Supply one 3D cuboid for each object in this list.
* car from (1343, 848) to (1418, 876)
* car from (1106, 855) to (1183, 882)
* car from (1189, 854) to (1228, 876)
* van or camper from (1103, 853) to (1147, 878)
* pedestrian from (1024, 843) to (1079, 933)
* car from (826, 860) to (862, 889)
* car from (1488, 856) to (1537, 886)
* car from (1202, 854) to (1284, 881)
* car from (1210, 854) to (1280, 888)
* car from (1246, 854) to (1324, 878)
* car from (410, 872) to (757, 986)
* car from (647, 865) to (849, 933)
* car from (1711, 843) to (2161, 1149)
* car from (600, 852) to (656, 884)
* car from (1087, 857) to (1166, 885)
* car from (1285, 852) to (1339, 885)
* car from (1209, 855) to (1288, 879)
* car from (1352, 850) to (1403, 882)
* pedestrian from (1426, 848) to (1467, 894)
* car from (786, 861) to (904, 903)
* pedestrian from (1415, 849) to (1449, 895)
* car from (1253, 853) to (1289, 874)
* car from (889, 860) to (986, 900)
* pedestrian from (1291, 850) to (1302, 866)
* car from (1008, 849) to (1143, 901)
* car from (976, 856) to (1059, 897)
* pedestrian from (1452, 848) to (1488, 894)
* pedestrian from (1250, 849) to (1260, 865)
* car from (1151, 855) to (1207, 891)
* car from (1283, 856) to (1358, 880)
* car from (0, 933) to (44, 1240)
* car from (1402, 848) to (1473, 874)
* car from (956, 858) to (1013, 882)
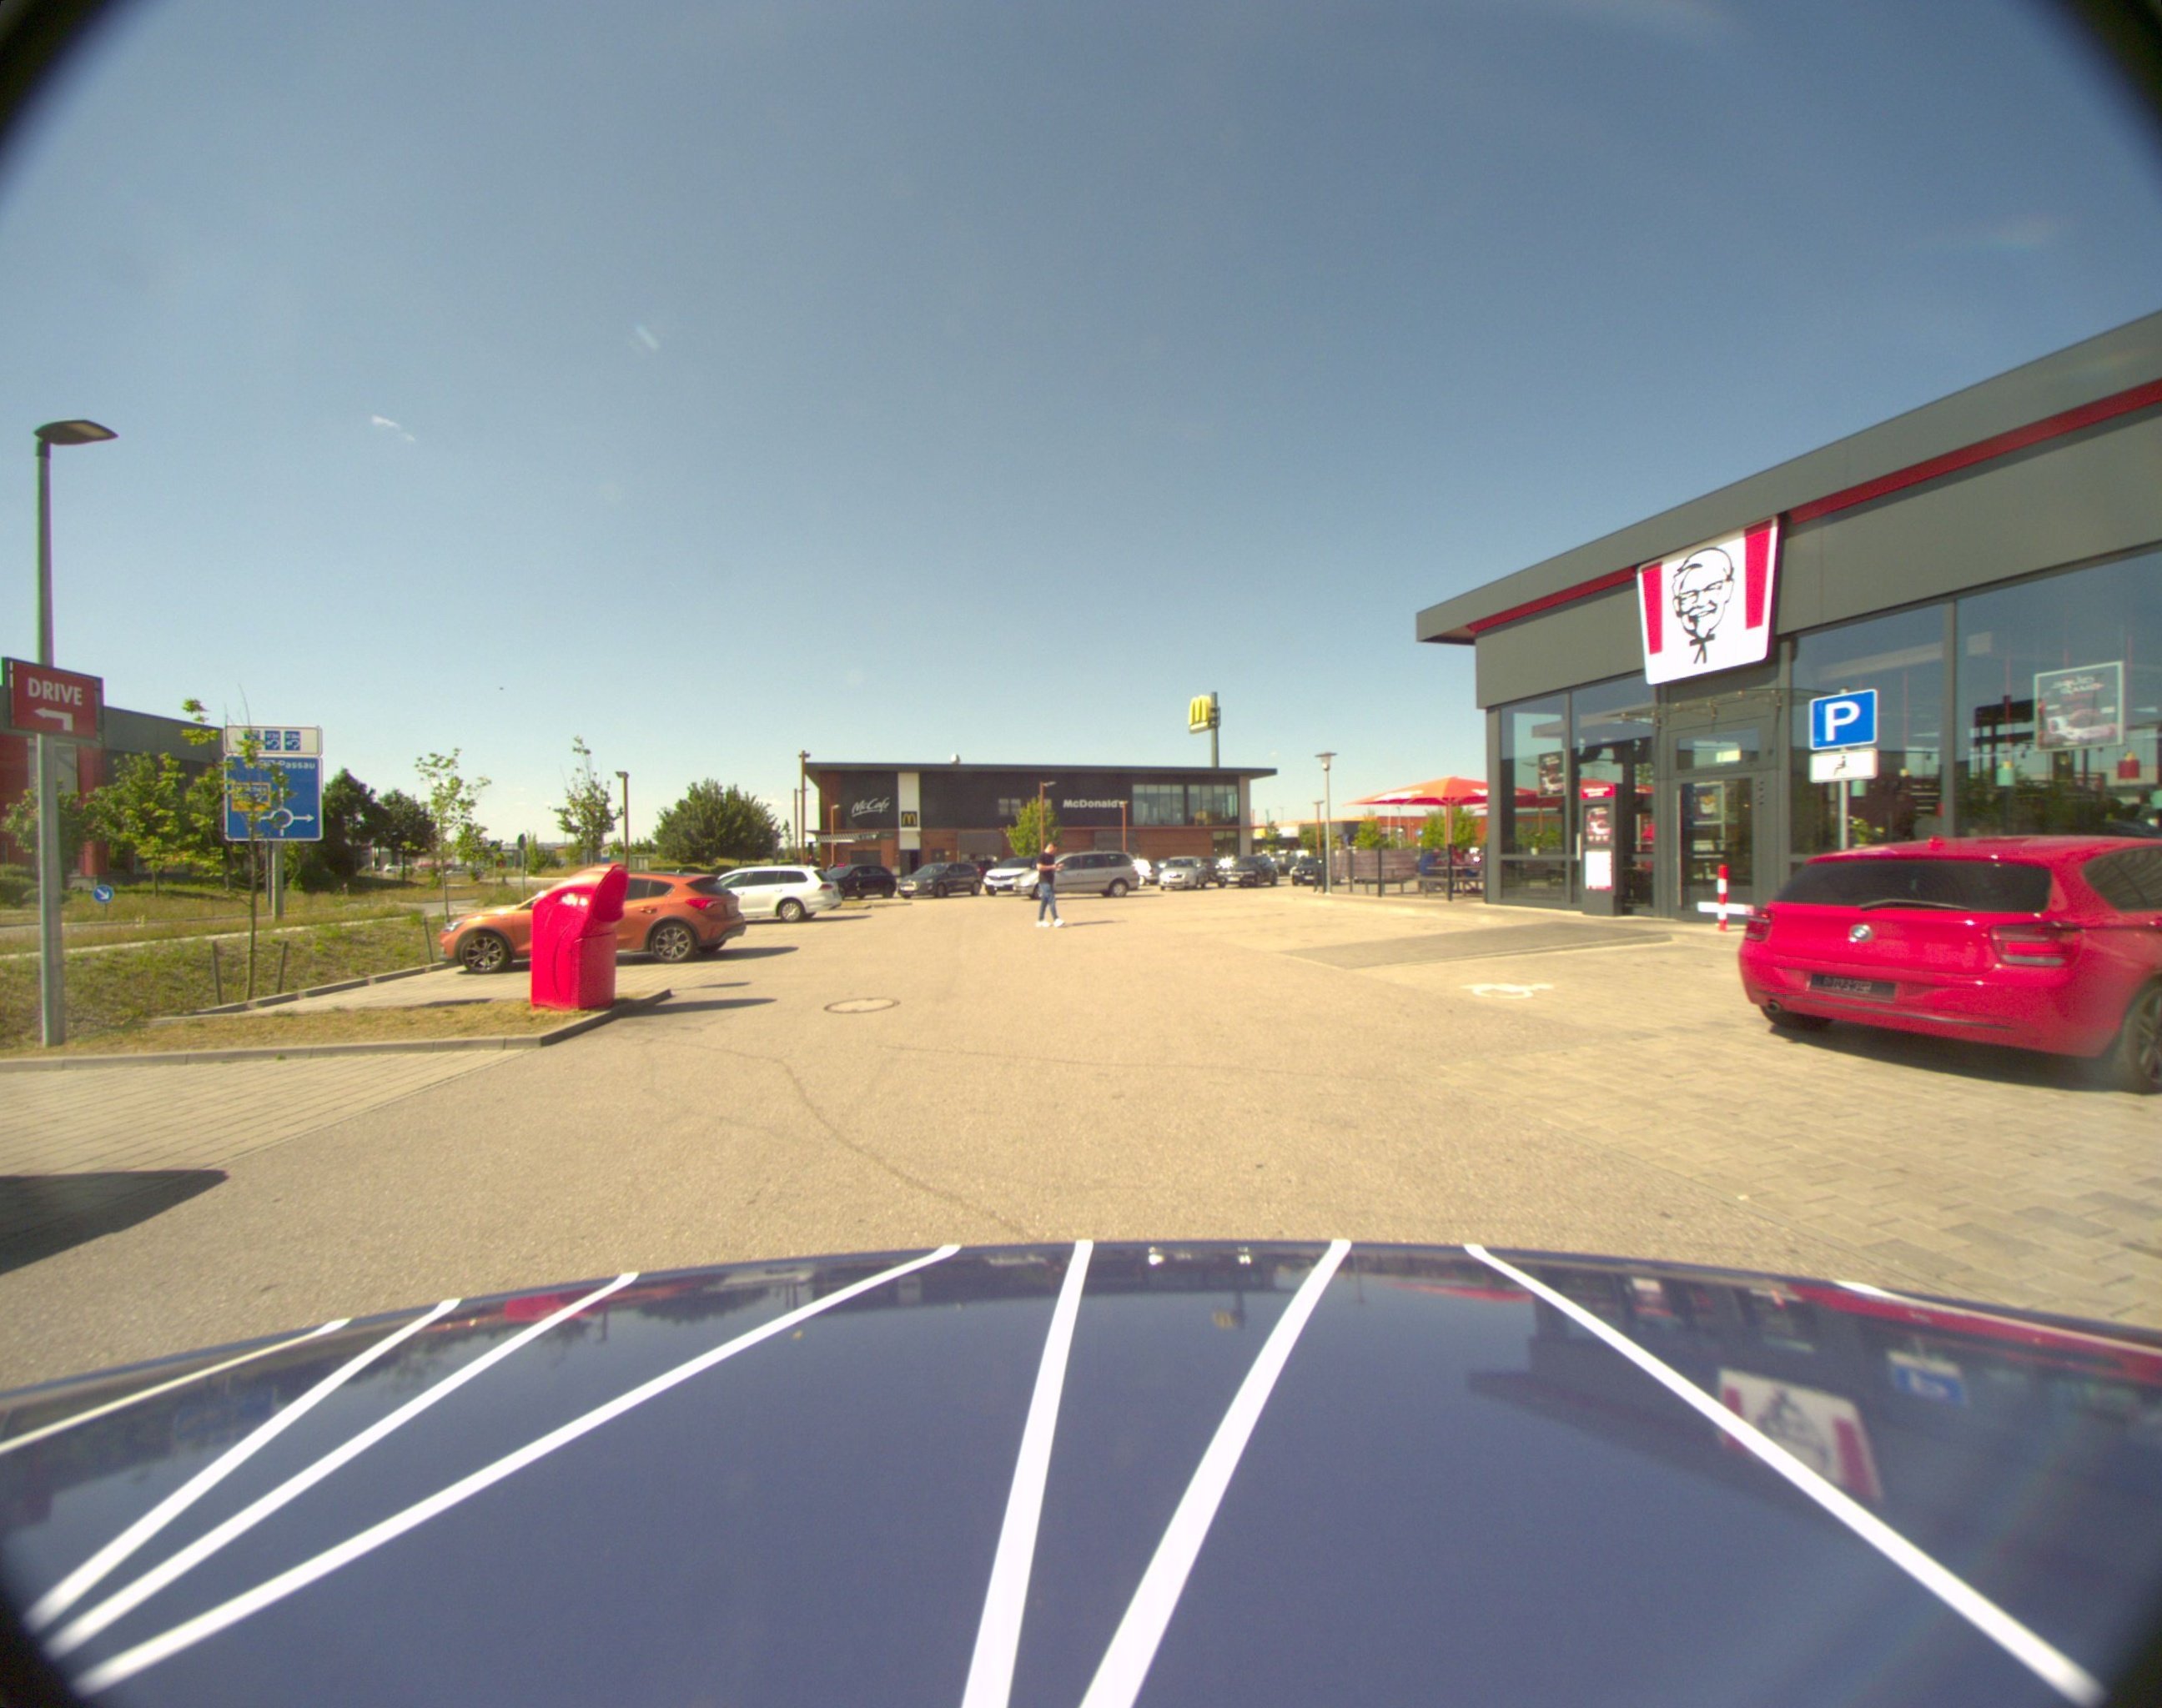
[{"bbox_3d":[18.758,0.493,47.611,4.104,1.664,1.817,-2,0,31],"label":"car"},{"bbox_3d":[3.709,0.868,44.754,4.104,1.506,1.817,-2,0,31],"label":"car"},{"bbox_3d":[9.904,0.835,58.685,1.712,1.603,4.044,-1,-1,29],"label":"car"},{"bbox_3d":[3.341,0.848,57.159,1.707,1.764,4.036,-1,-1,28],"label":"van or camper"},{"bbox_3d":[-0.623,0.693,15.835,0.994,1.798,0.725,-2,1,-9],"label":"pedestrian"},{"bbox_3d":[-14.775,1.243,47.262,1.999,1.681,4.229,-1,0,-19],"label":"car"},{"bbox_3d":[21.986,0.843,38.845,1.970,1.451,4.215,-1,-1,27],"label":"car"},{"bbox_3d":[9.421,0.773,44.177,4.269,1.478,1.817,-2,0,31],"label":"car"},{"bbox_3d":[7.726,0.742,35.474,1.970,1.478,4.792,-1,-1,27],"label":"car"},{"bbox_3d":[13.646,0.821,50.849,4.632,1.478,1.899,-2,0,31],"label":"car"},{"bbox_3d":[-7.920,1.148,12.531,4.353,1.460,1.832,-2,1,-8],"label":"car"},{"bbox_3d":[-8.600,1.133,20.007,4.481,1.460,1.832,-2,1,-8],"label":"car"},{"bbox_3d":[6.838,0.683,5.207,4.404,1.404,1.738,-2,0,-17],"label":"car"},{"bbox_3d":[-32.596,0.990,54.806,2.001,2.184,5.100,-1,-1,-14],"label":"car"},{"bbox_3d":[2.542,0.945,42.671,4.104,1.484,1.715,-2,0,31],"label":"car"},{"bbox_3d":[11.083,0.669,36.265,1.832,1.451,4.378,-1,-1,26],"label":"car"},{"bbox_3d":[10.882,0.865,49.442,4.632,1.478,1.899,-2,0,31],"label":"car"},{"bbox_3d":[14.751,0.570,37.635,1.832,1.451,4.593,-1,-1,27],"label":"car"},{"bbox_3d":[10.558,0.485,21.960,0.843,1.266,0.684,-1,0,-31],"label":"pedestrian"},{"bbox_3d":[-9.382,1.086,30.543,1.970,1.517,4.341,-1,0,29],"label":"car"},{"bbox_3d":[9.935,0.502,21.499,0.625,1.266,0.612,-1,0,-31],"label":"pedestrian"},{"bbox_3d":[15.162,0.742,60.485,1.712,1.603,4.044,-1,-1,29],"label":"car"},{"bbox_3d":[-5.855,1.023,31.562,1.971,1.517,4.214,-1,-1,22],"label":"car"},{"bbox_3d":[20.853,0.353,73.486,0.702,1.550,0.721,-1,0,-14],"label":"pedestrian"},{"bbox_3d":[-0.216,0.758,28.350,4.686,1.738,1.831,-1,0,-16],"label":"car"},{"bbox_3d":[-2.625,0.912,32.629,1.971,1.644,4.213,-1,-1,20],"label":"car"},{"bbox_3d":[10.879,0.476,21.232,0.552,1.266,0.684,-1,0,-31],"label":"pedestrian"},{"bbox_3d":[16.783,0.299,73.317,0.723,1.550,0.700,-1,0,-44],"label":"pedestrian"},{"bbox_3d":[4.494,0.826,34.403,1.972,1.517,4.212,-1,-1,15],"label":"car"},{"bbox_3d":[14.762,0.863,46.899,4.104,1.405,1.817,-2,0,31],"label":"car"},{"bbox_3d":[-7.230,1.161,2.530,4.601,1.404,1.739,-2,0,-7],"label":"car"},{"bbox_3d":[22.664,0.447,48.353,3.990,1.543,1.758,-2,0,28],"label":"car"},{"bbox_3d":[-6.857,1.106,54.577,1.958,1.593,4.475,-1,-1,25],"label":"car"}]
